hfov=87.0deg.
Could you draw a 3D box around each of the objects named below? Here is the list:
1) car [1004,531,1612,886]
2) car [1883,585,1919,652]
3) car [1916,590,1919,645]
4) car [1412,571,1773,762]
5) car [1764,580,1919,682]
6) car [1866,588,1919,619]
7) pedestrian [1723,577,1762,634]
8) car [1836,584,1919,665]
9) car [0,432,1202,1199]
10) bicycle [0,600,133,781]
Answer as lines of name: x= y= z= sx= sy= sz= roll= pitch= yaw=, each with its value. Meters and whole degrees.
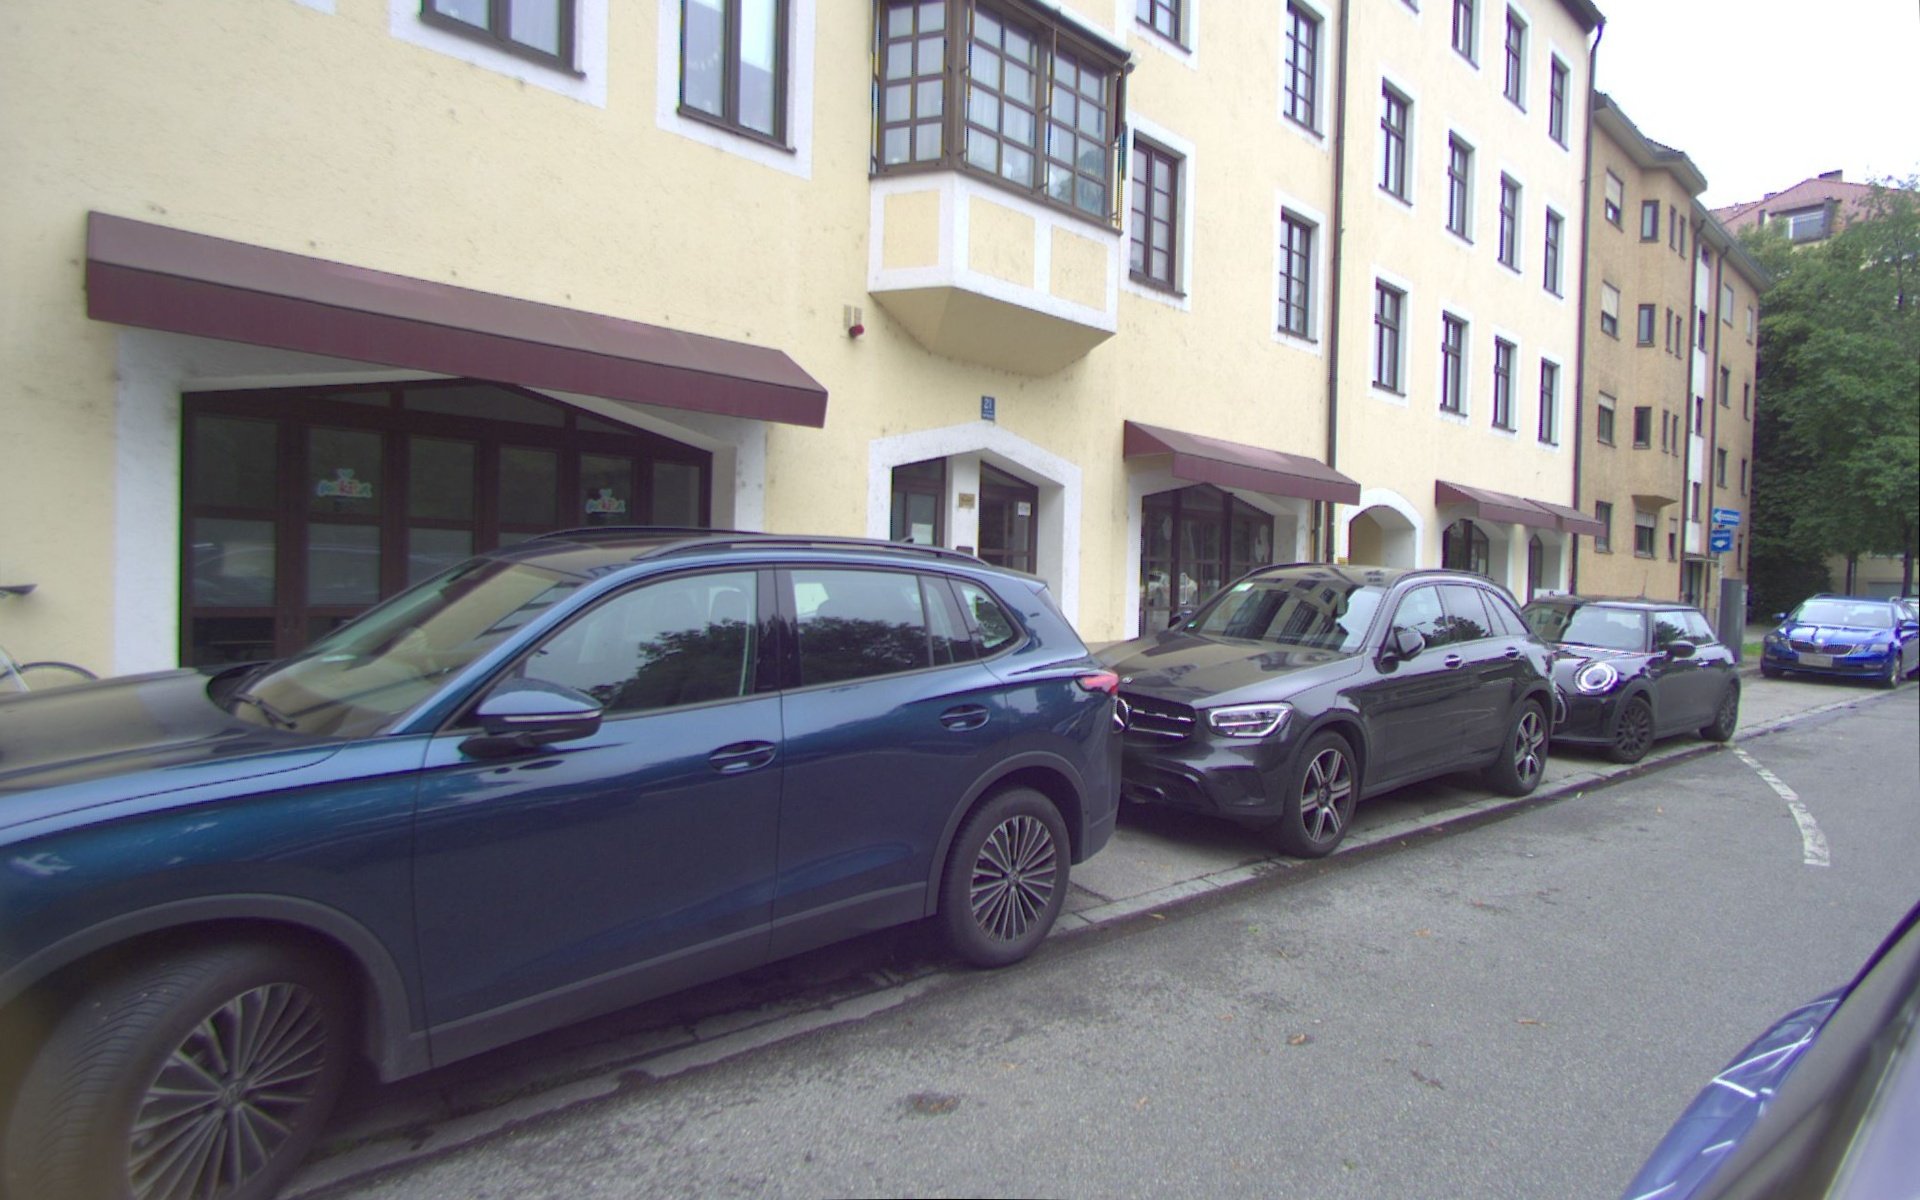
car: x=2.632 y=0.474 z=7.003 sx=4.622 sy=1.700 sz=1.761 roll=0 pitch=3 yaw=-39
car: x=23.705 y=0.460 z=24.347 sx=3.718 sy=1.514 sz=1.632 roll=0 pitch=3 yaw=-39
car: x=27.181 y=0.468 z=27.181 sx=3.752 sy=1.514 sz=1.632 roll=0 pitch=3 yaw=-39
car: x=6.409 y=0.533 z=10.145 sx=3.751 sy=1.514 sz=1.763 roll=0 pitch=3 yaw=-36
car: x=15.822 y=0.465 z=17.728 sx=4.406 sy=1.514 sz=1.761 roll=0 pitch=3 yaw=-39
car: x=47.695 y=0.164 z=51.466 sx=4.174 sy=1.485 sz=2.050 roll=0 pitch=2 yaw=-43
pedestrian: x=22.920 y=0.151 z=29.646 sx=0.962 sy=1.644 sz=0.672 roll=-1 pitch=2 yaw=-38
car: x=19.919 y=0.472 z=21.128 sx=4.354 sy=1.514 sz=1.695 roll=0 pitch=3 yaw=-40
car: x=-1.221 y=0.479 z=3.657 sx=4.432 sy=1.700 sz=1.822 roll=0 pitch=3 yaw=-42
bicycle: x=-5.574 y=0.499 z=5.505 sx=1.656 sy=0.990 sz=0.271 roll=0 pitch=0 yaw=-43
